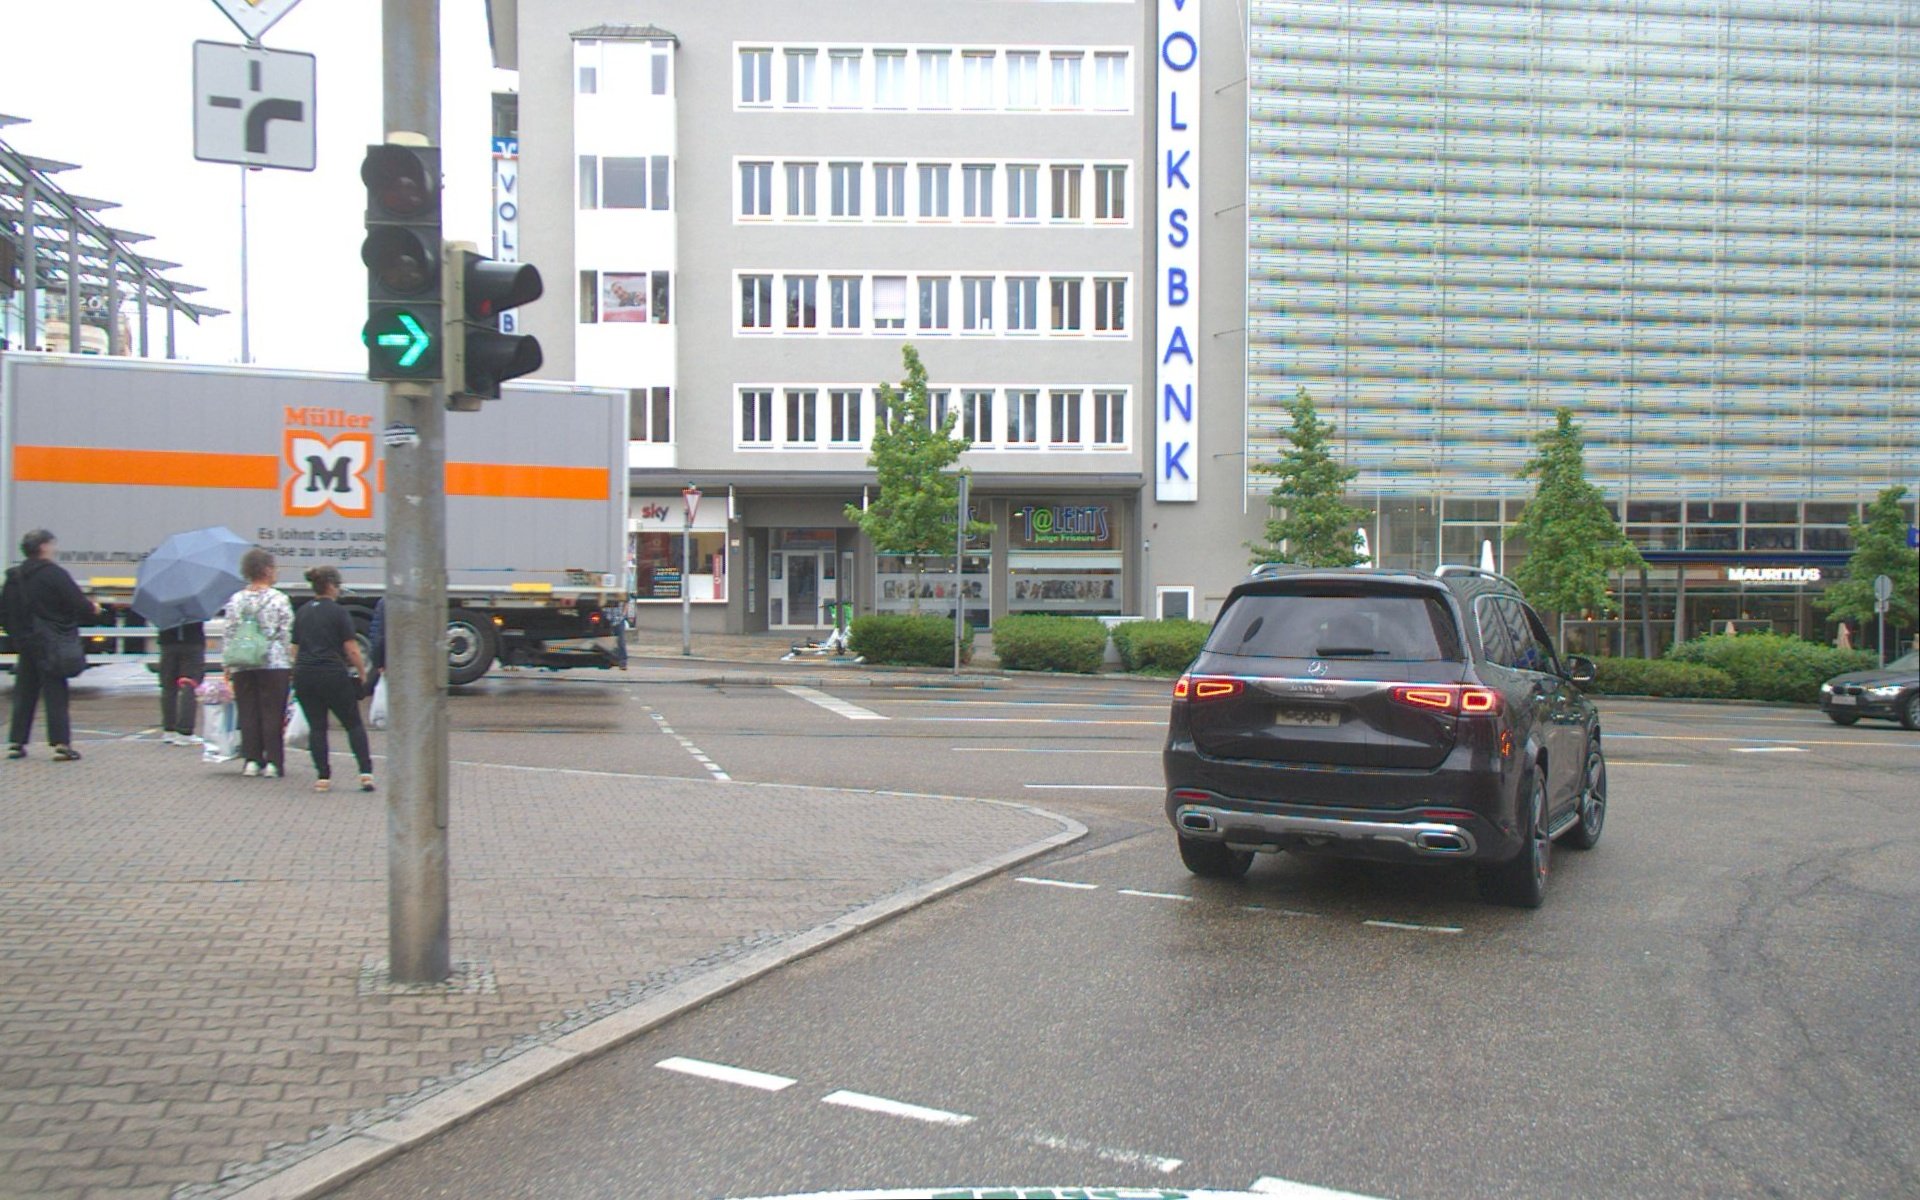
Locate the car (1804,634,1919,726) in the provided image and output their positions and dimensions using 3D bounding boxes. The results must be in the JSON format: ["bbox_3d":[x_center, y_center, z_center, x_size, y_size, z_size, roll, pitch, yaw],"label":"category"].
[{"bbox_3d":[17.335,1.425,28.861,4.545,1.450,1.991,2,0,-17],"label":"car"}]

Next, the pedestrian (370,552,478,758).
[{"bbox_3d":[-4.325,0.440,13.406,0.700,1.595,0.852,2,-1,-13],"label":"pedestrian"}]

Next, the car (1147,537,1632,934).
[{"bbox_3d":[2.961,0.670,10.433,2.047,1.849,4.788,2,0,26],"label":"car"}]

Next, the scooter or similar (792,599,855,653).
[{"bbox_3d":[-3.076,0.582,37.322,1.351,1.207,0.544,0,0,2],"label":"scooter or similar"}]

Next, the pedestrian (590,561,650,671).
[{"bbox_3d":[-5.698,0.262,27.736,0.818,1.809,0.613,2,0,-24],"label":"pedestrian"}]

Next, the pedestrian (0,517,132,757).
[{"bbox_3d":[-6.804,0.281,12.491,0.770,1.741,0.704,2,-1,-13],"label":"pedestrian"}]

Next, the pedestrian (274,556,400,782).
[{"bbox_3d":[-4.308,0.474,11.473,0.692,1.514,0.558,2,-1,-13],"label":"pedestrian"}]

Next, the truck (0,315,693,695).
[{"bbox_3d":[-9.010,-1.072,21.472,10.575,4.409,2.840,1,0,-20],"label":"truck"}]

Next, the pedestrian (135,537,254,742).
[{"bbox_3d":[-6.652,0.345,14.412,0.743,1.721,0.691,2,-2,-13],"label":"pedestrian"}]

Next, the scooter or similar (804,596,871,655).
[{"bbox_3d":[-2.881,0.592,39.045,1.466,1.278,0.931,2,3,2],"label":"scooter or similar"}]

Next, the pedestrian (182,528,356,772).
[{"bbox_3d":[-5.053,0.356,12.163,0.961,1.701,0.912,2,0,-12],"label":"pedestrian"}]
